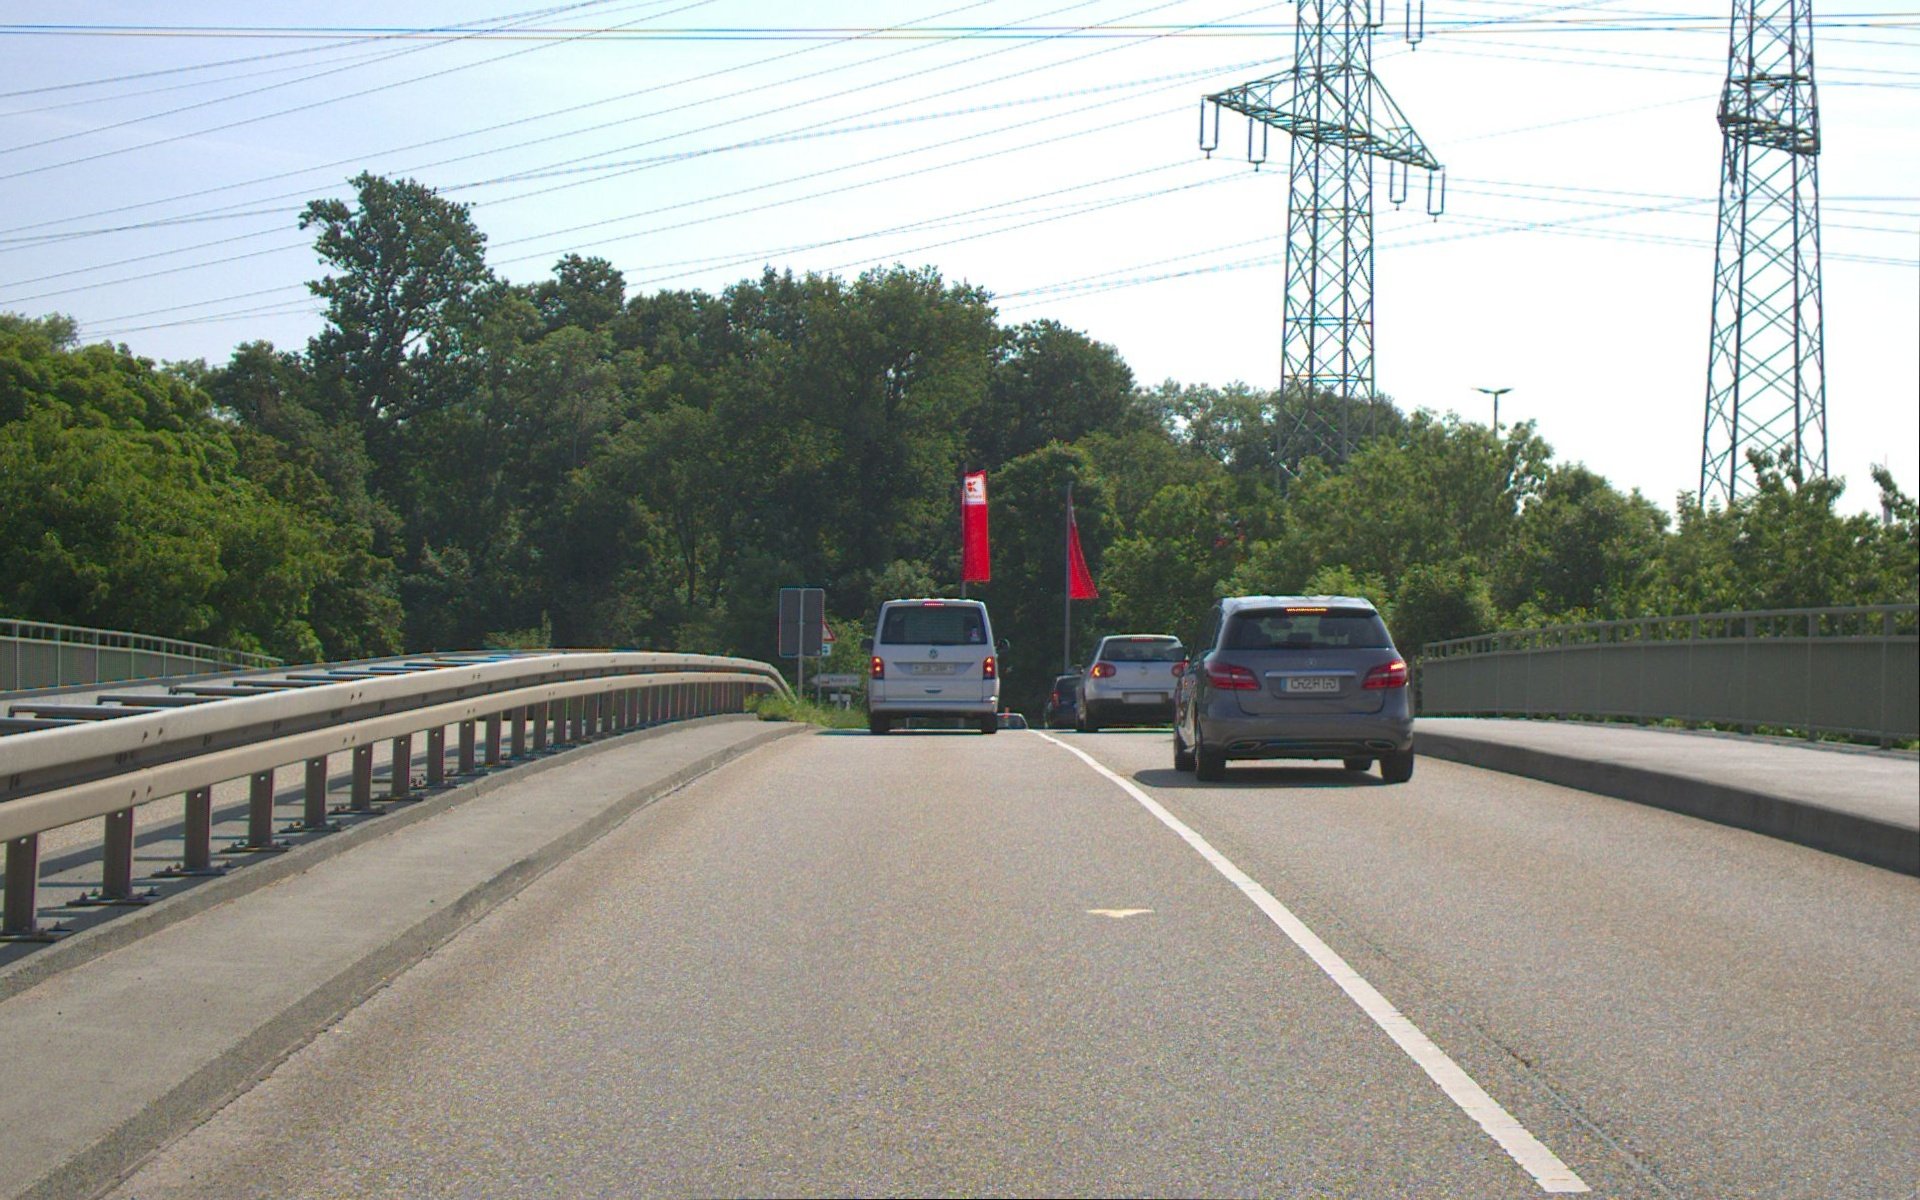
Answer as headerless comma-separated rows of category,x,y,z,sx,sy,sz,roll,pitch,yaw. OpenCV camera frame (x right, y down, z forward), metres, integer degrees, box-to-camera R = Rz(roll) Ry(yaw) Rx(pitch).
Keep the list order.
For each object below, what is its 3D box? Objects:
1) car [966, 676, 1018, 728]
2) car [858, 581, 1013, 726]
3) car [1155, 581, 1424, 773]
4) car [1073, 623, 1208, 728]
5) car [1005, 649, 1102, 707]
car,1.004,3.221,109.343,1.549,1.548,3.555,1,0,0
car,-0.319,0.766,50.785,2.039,2.007,4.000,1,0,3
car,2.749,0.649,29.520,1.856,1.524,4.144,0,-1,-1
car,2.700,1.165,52.216,1.856,1.524,4.143,0,-2,1
car,2.215,1.850,80.660,1.774,1.327,3.738,-1,-2,9
